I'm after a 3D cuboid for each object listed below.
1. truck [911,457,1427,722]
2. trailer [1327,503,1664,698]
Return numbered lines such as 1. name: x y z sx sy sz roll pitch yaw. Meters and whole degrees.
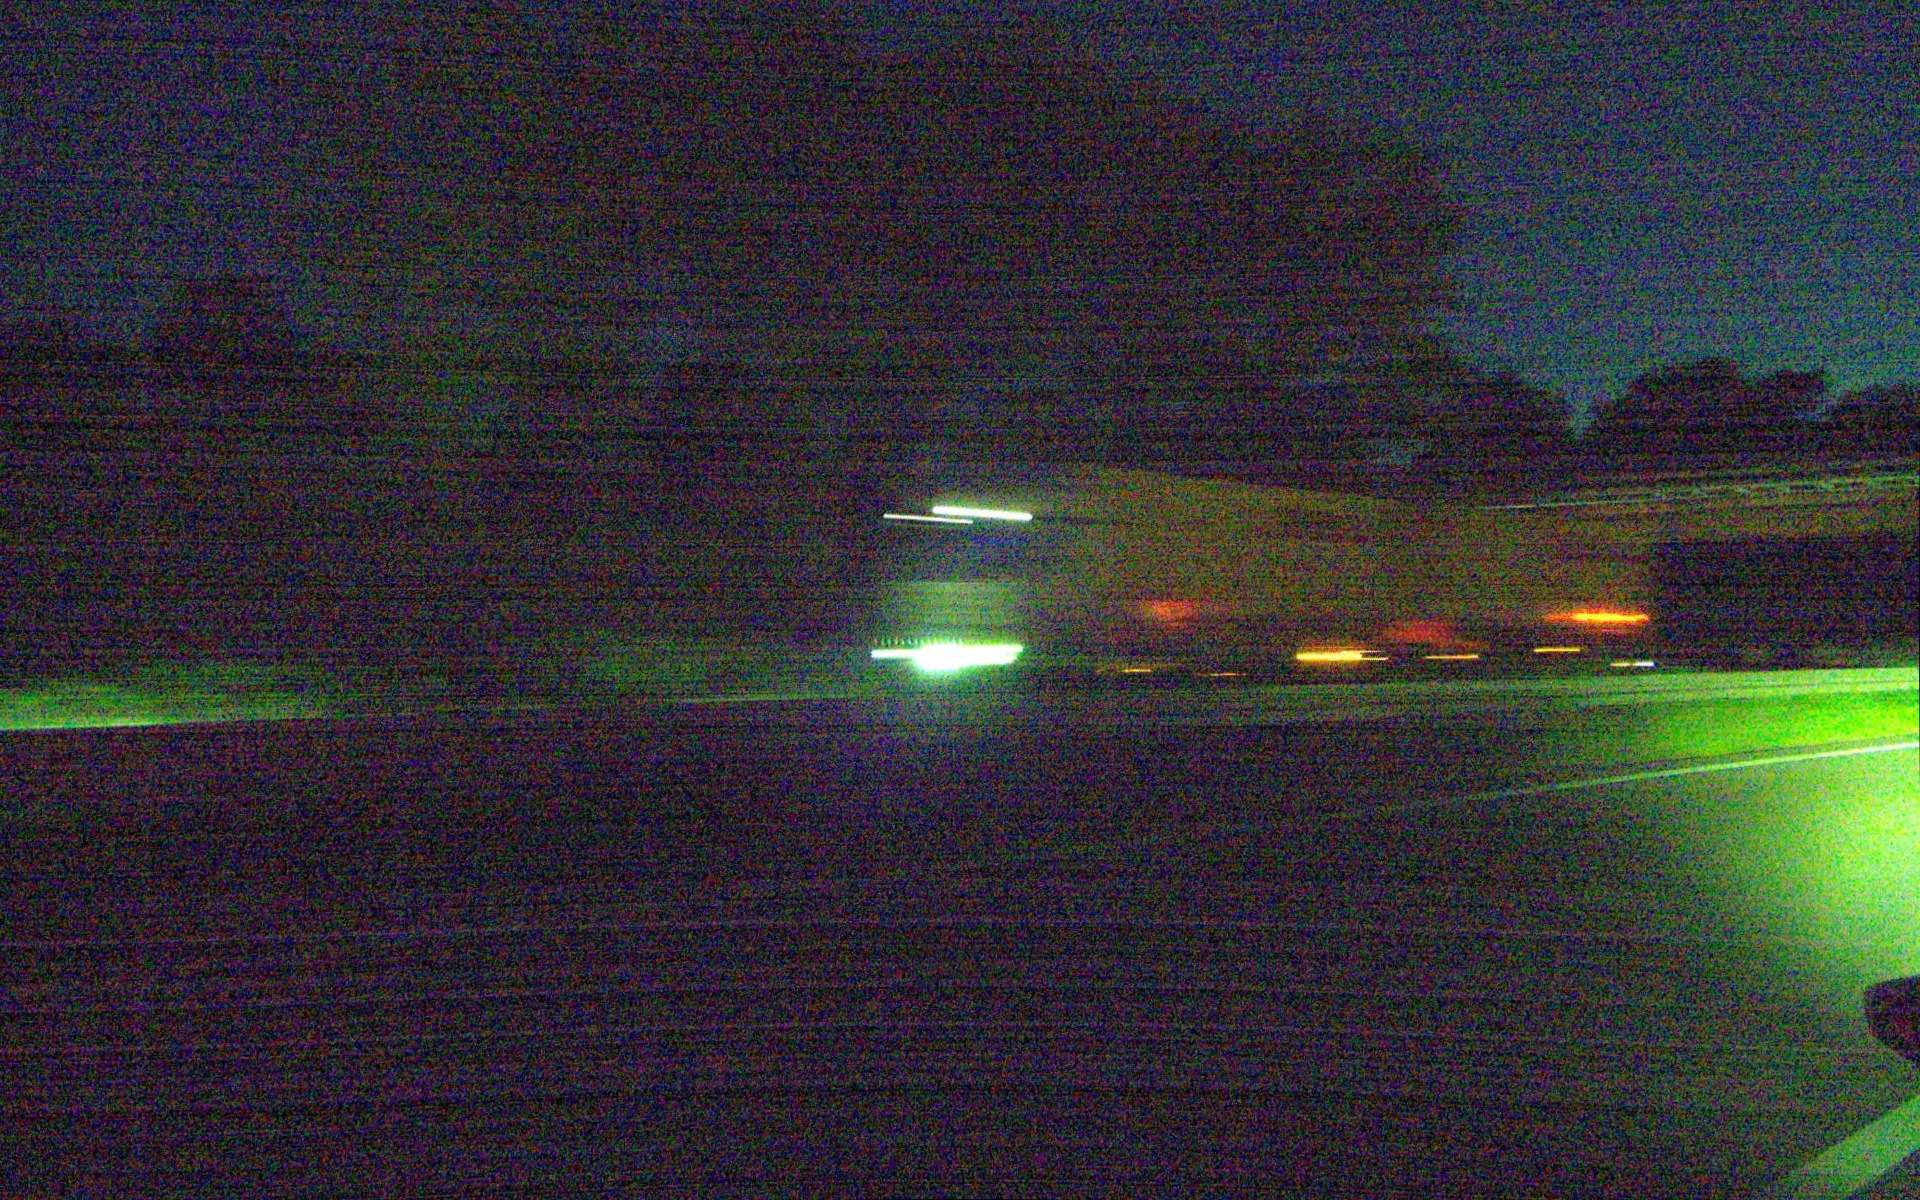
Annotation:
1. truck: 4.371 -0.056 19.303 10.523 4.098 2.669 1 -1 -29
2. trailer: 12.959 0.099 24.009 8.936 4.009 2.706 1 -1 -29
